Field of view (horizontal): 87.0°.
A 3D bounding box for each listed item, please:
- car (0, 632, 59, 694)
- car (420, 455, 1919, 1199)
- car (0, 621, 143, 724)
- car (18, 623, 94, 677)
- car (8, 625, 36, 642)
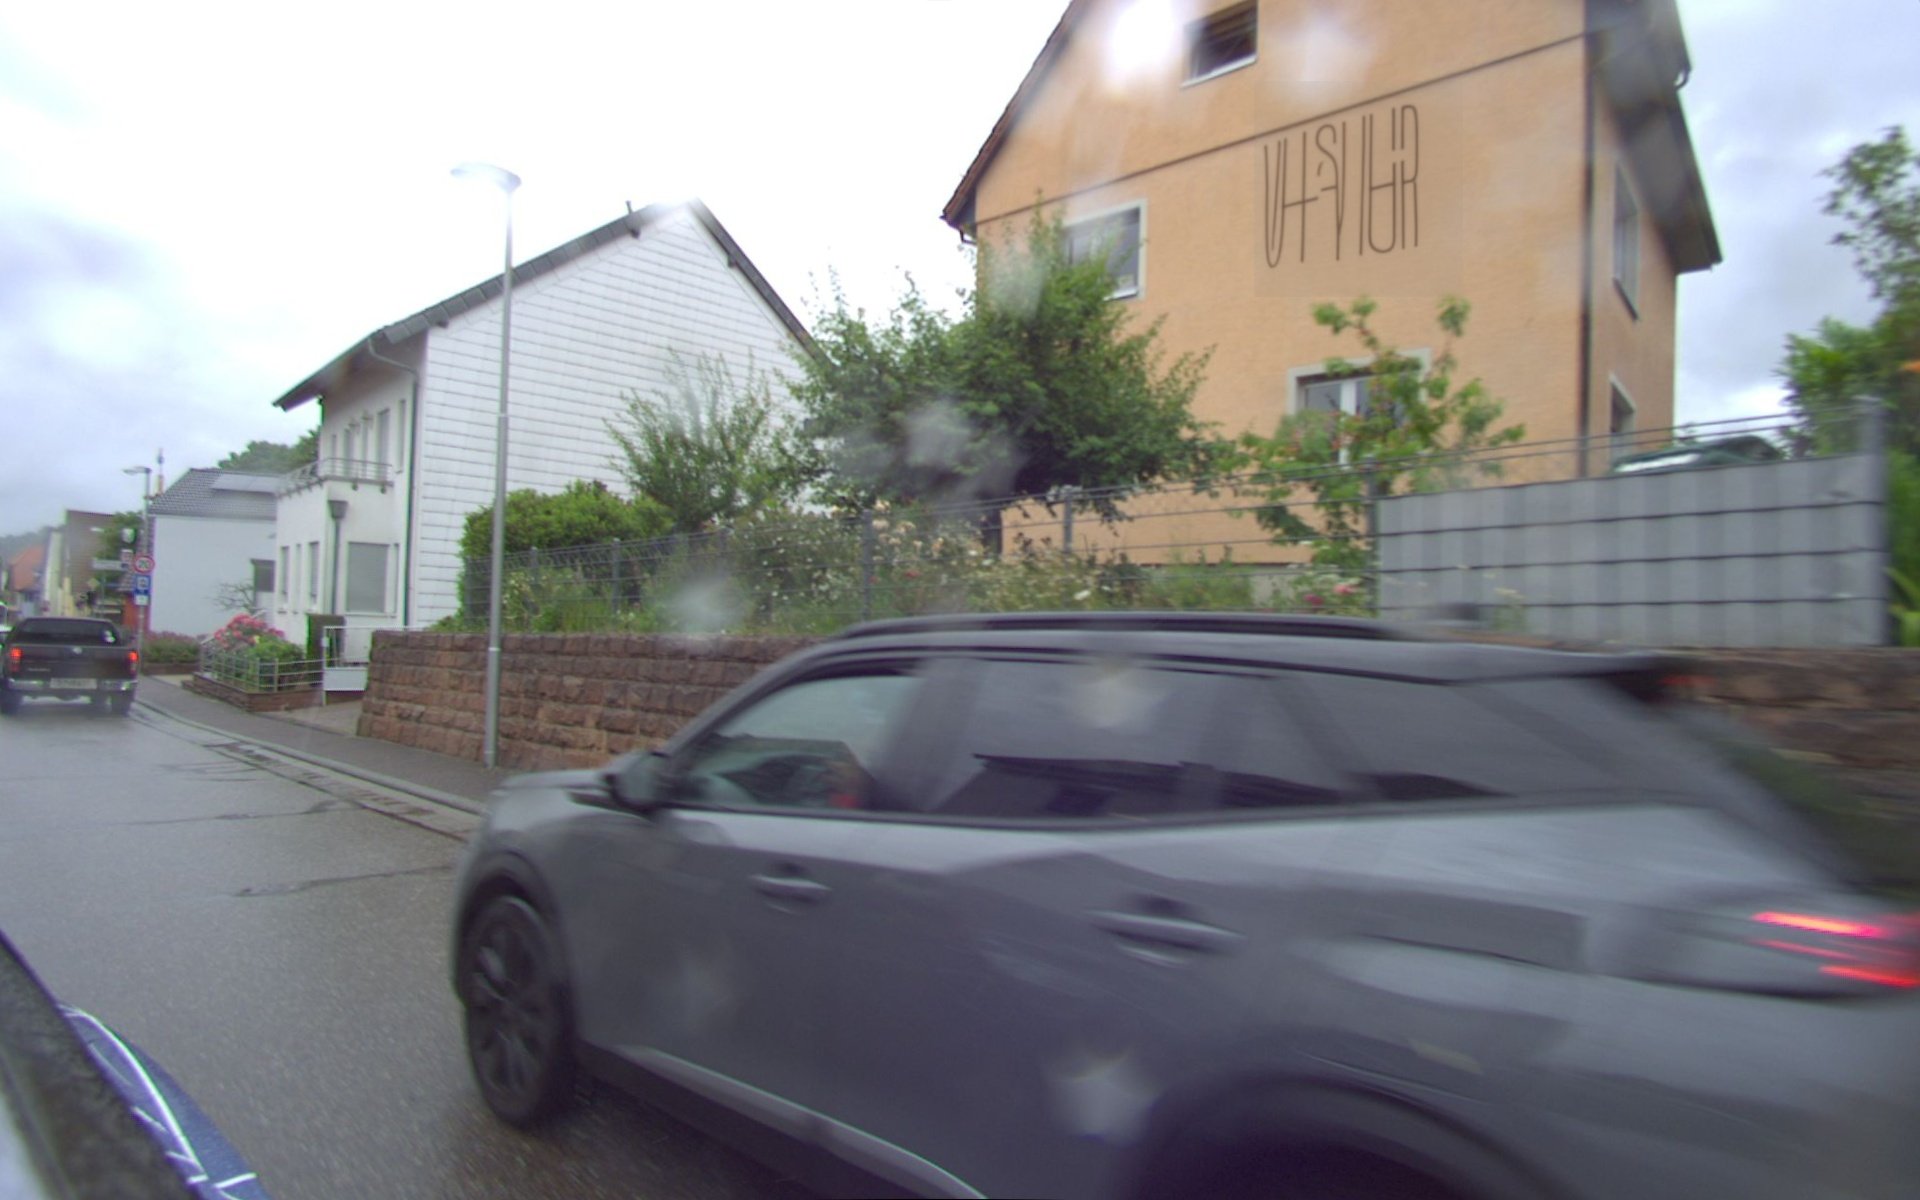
[{"bbox_3d":[-24.453,1.597,25.993,3.716,1.493,1.562,-2,-5,43],"label":"car"},{"bbox_3d":[0.274,0.725,2.698,3.848,1.559,1.682,-2,-5,41],"label":"car"},{"bbox_3d":[-17.144,1.276,19.195,5.198,1.686,1.814,-1,-3,43],"label":"car"},{"bbox_3d":[-31.060,1.689,34.847,1.789,1.697,4.189,4,-3,-41],"label":"car"},{"bbox_3d":[-87.558,3.130,94.496,1.833,1.517,4.166,4,-3,-42],"label":"car"}]
